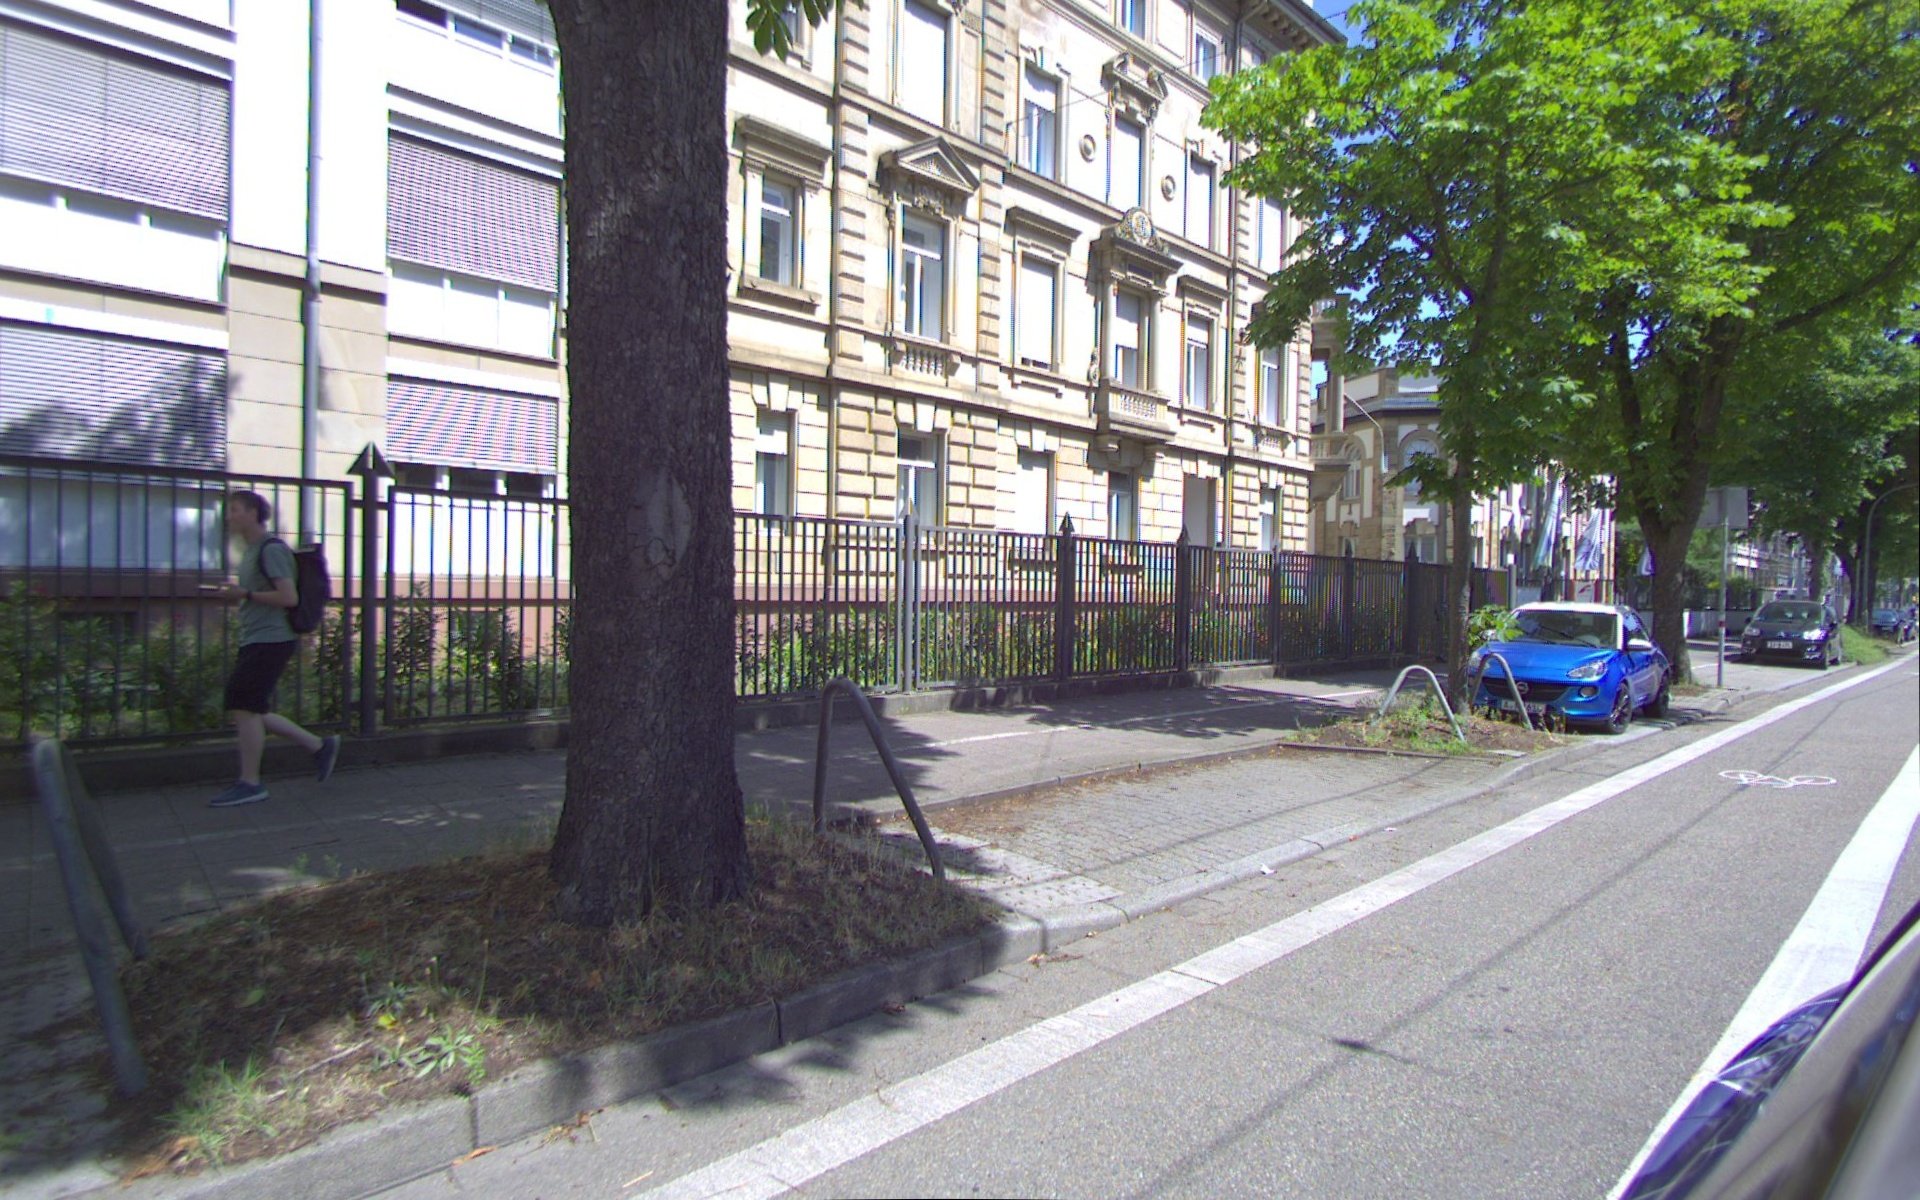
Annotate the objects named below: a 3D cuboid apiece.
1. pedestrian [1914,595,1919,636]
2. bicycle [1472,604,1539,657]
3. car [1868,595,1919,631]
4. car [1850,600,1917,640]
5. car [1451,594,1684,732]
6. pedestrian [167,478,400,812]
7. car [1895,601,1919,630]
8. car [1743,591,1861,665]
[{"bbox_3d":[44.936,0.731,46.987,0.724,1.873,0.648,1,0,-16],"label":"pedestrian"},{"bbox_3d":[11.753,0.629,21.786,1.946,1.084,0.609,0,1,-41],"label":"bicycle"},{"bbox_3d":[41.766,0.549,45.068,3.933,1.420,1.624,0,3,-43],"label":"car"},{"bbox_3d":[36.461,0.761,39.941,3.759,1.420,1.624,0,3,-43],"label":"car"},{"bbox_3d":[7.758,0.683,12.811,3.416,1.471,1.692,0,1,-44],"label":"car"},{"bbox_3d":[-4.084,0.237,6.126,1.066,1.820,0.685,1,1,-43],"label":"pedestrian"},{"bbox_3d":[50.865,0.829,53.607,3.933,1.420,1.624,0,3,-43],"label":"car"},{"bbox_3d":[21.380,0.657,25.645,4.015,1.636,1.732,0,3,-43],"label":"car"}]
